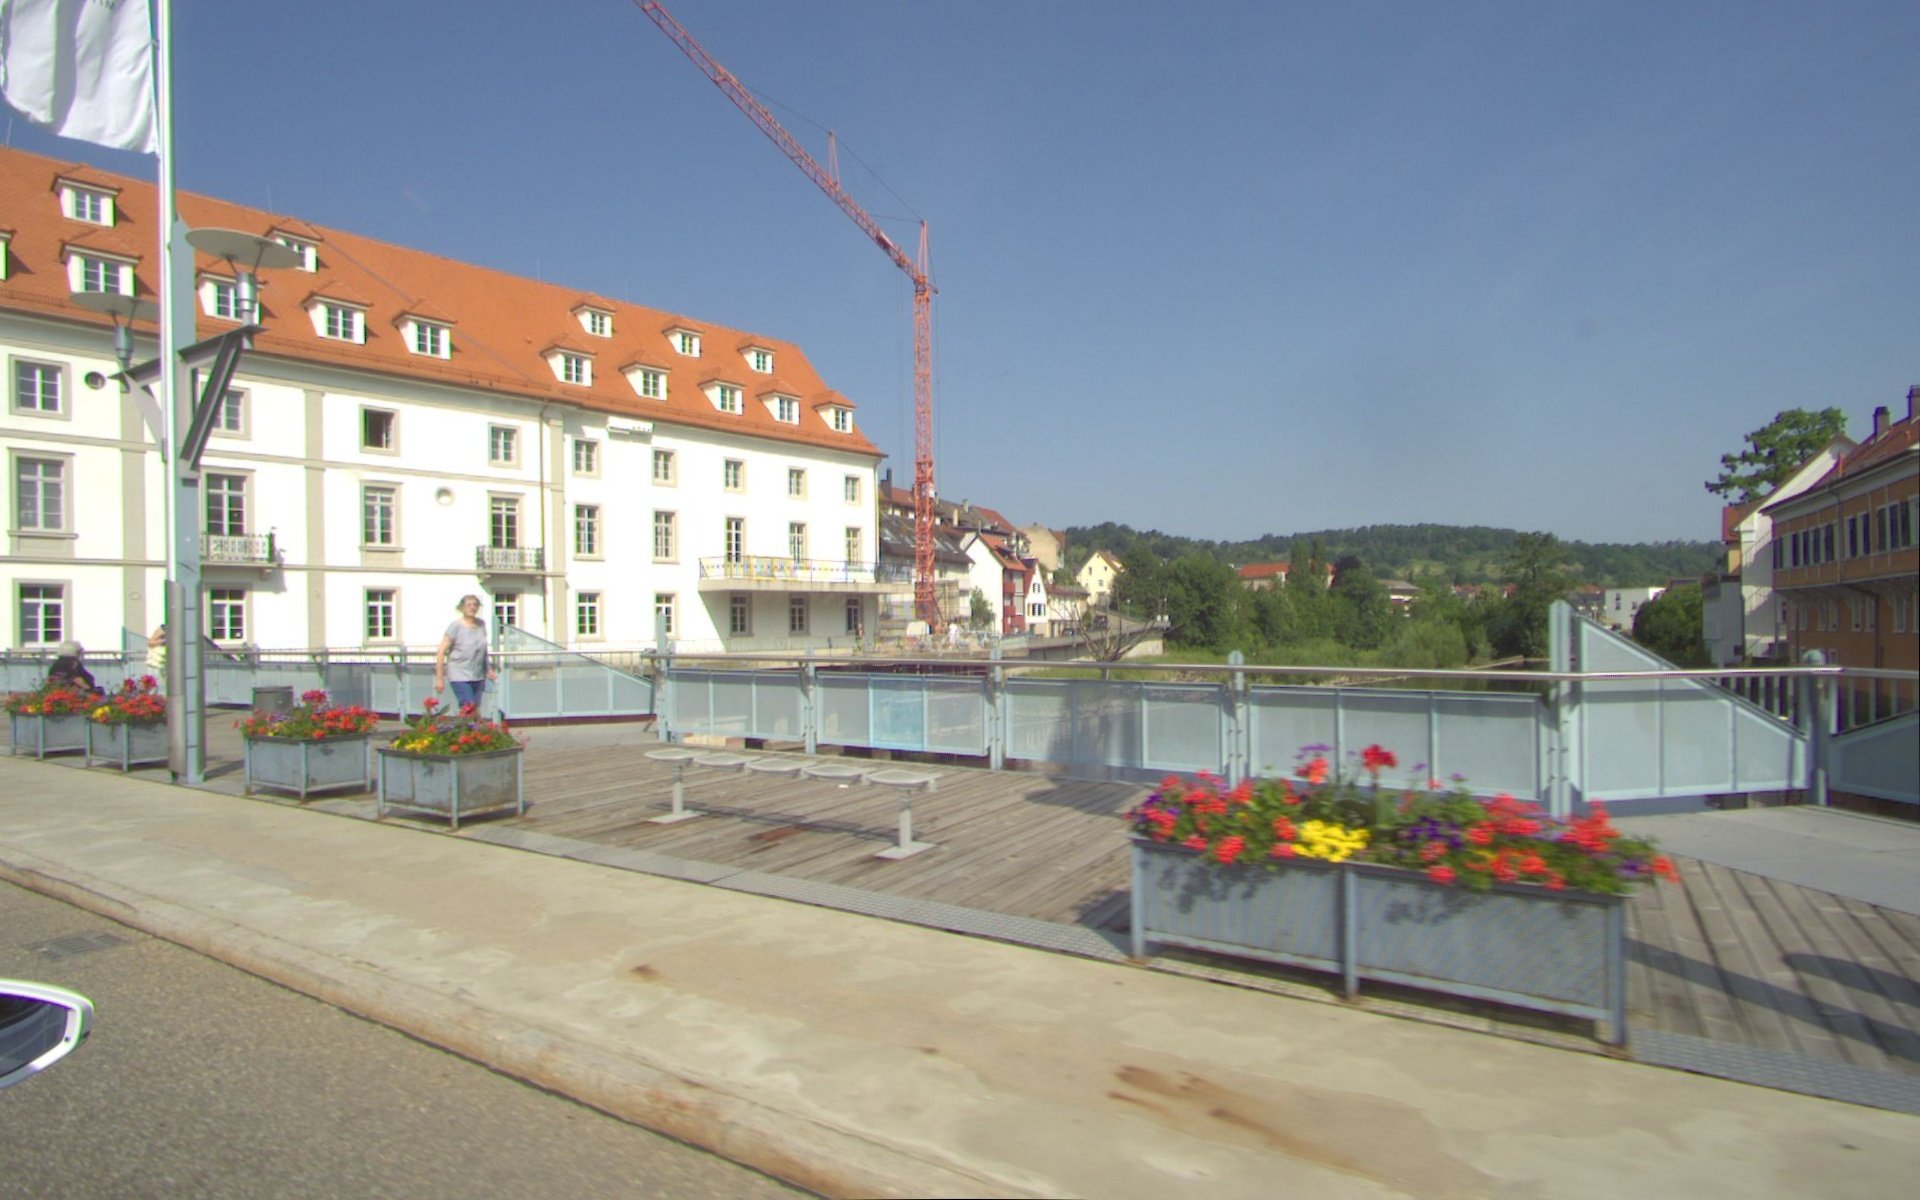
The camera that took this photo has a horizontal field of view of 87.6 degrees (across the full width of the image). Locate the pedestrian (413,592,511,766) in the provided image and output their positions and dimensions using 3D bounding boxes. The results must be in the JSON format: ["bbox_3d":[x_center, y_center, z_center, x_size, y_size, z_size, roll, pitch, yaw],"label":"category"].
[{"bbox_3d":[-4.904,0.758,9.875,0.555,1.639,0.665,0,-1,32],"label":"pedestrian"}]

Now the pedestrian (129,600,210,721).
[{"bbox_3d":[-11.838,0.890,14.995,0.736,1.745,0.725,0,-1,31],"label":"pedestrian"}]

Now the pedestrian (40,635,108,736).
[{"bbox_3d":[-11.404,1.088,12.896,0.616,1.260,0.451,-1,-1,27],"label":"pedestrian"}]
